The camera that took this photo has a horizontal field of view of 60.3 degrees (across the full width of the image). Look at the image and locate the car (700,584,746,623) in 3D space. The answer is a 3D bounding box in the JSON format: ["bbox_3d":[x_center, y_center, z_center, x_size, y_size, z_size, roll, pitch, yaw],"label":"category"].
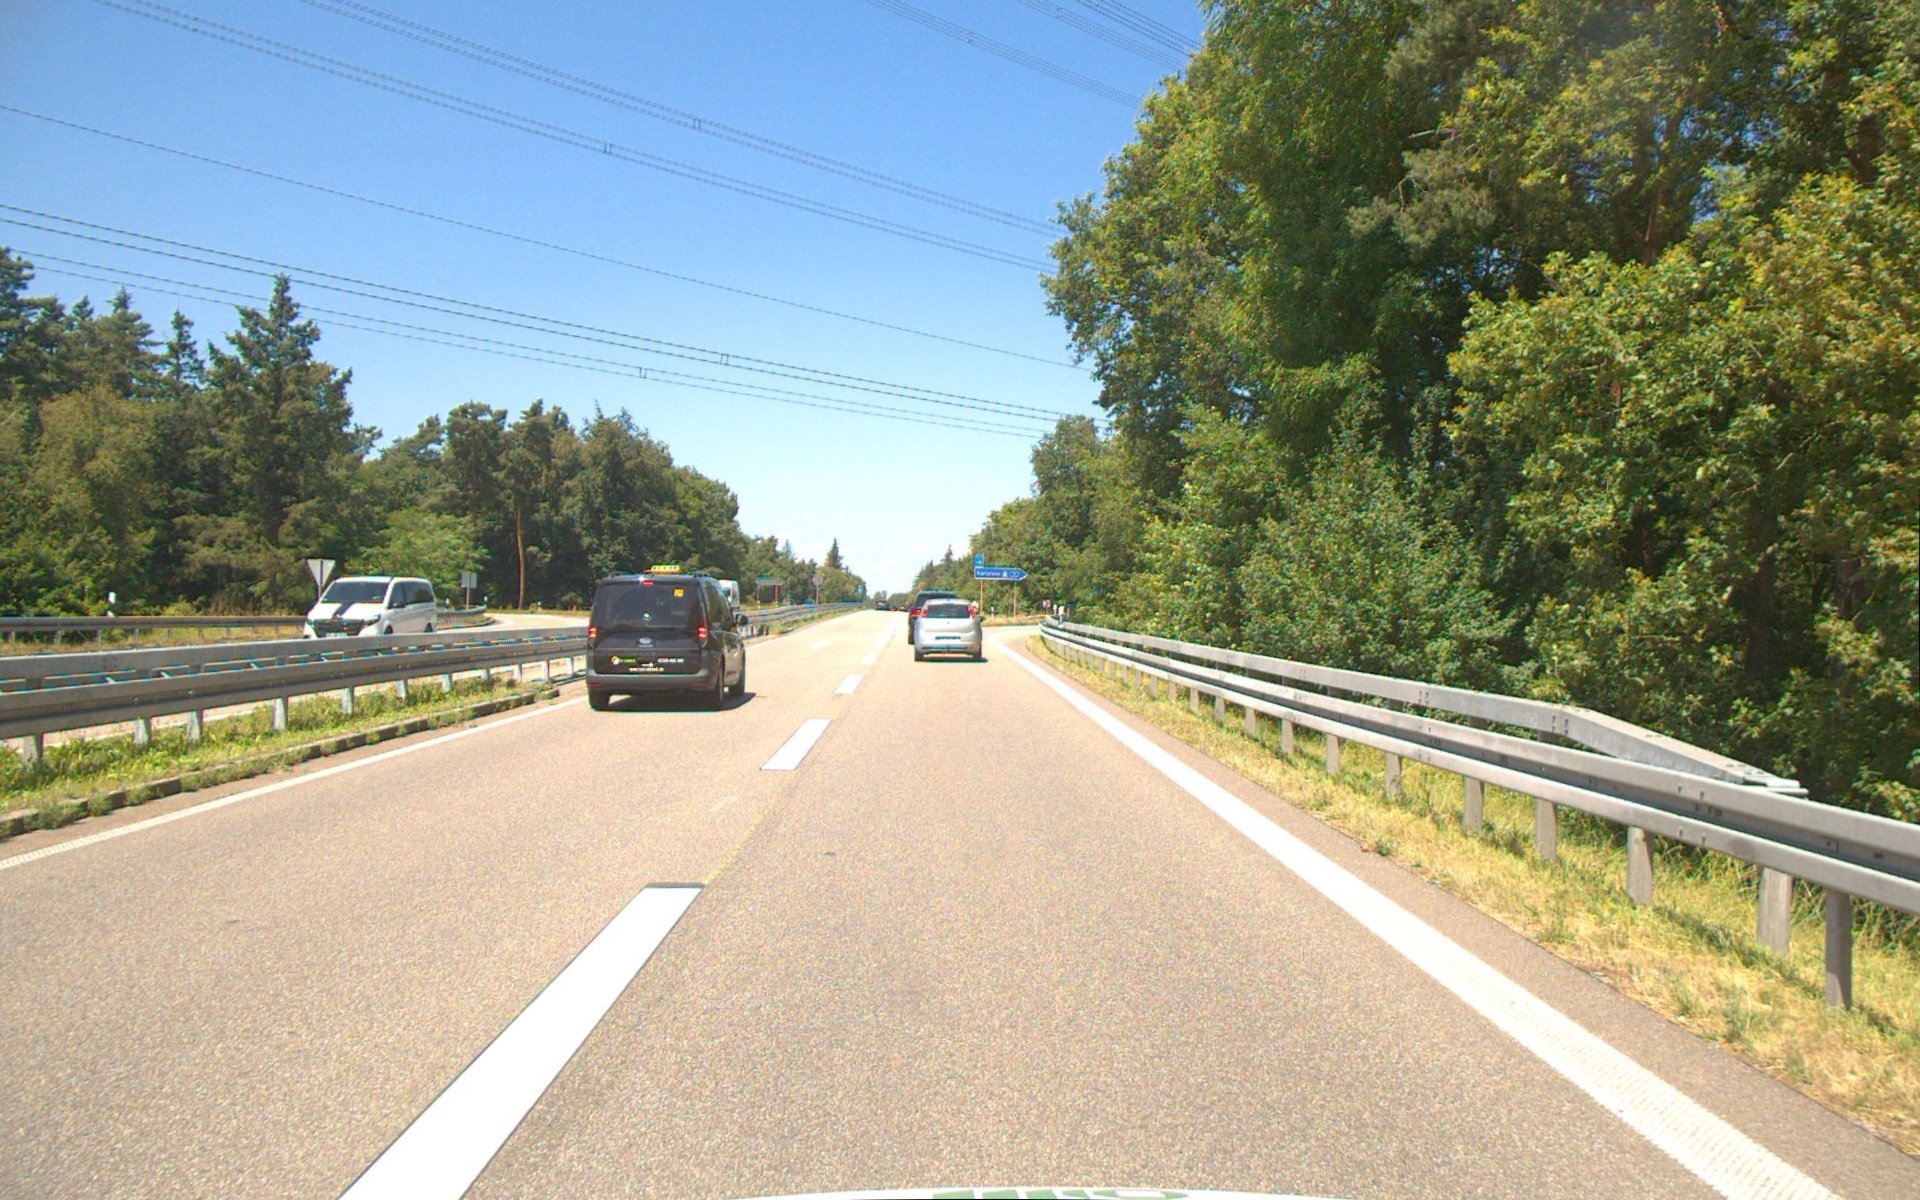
[{"bbox_3d":[-16.988,0.280,118.945,2.473,2.664,7.183,-1,0,-2],"label":"car"}]

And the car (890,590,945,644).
[{"bbox_3d":[-1.392,0.549,55.307,1.606,1.682,3.574,3,0,1],"label":"car"}]

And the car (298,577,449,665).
[{"bbox_3d":[-14.433,0.481,41.080,1.852,2.027,5.532,0,0,-1],"label":"car"}]

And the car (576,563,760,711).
[{"bbox_3d":[-4.129,0.485,24.241,1.817,1.920,5.572,0,0,-1],"label":"car"}]

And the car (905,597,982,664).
[{"bbox_3d":[-0.446,0.723,40.794,1.608,1.493,3.416,3,0,-4],"label":"car"}]

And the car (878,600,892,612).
[{"bbox_3d":[-9.930,0.816,220.056,1.678,1.497,3.573,3,0,-2],"label":"car"}]
